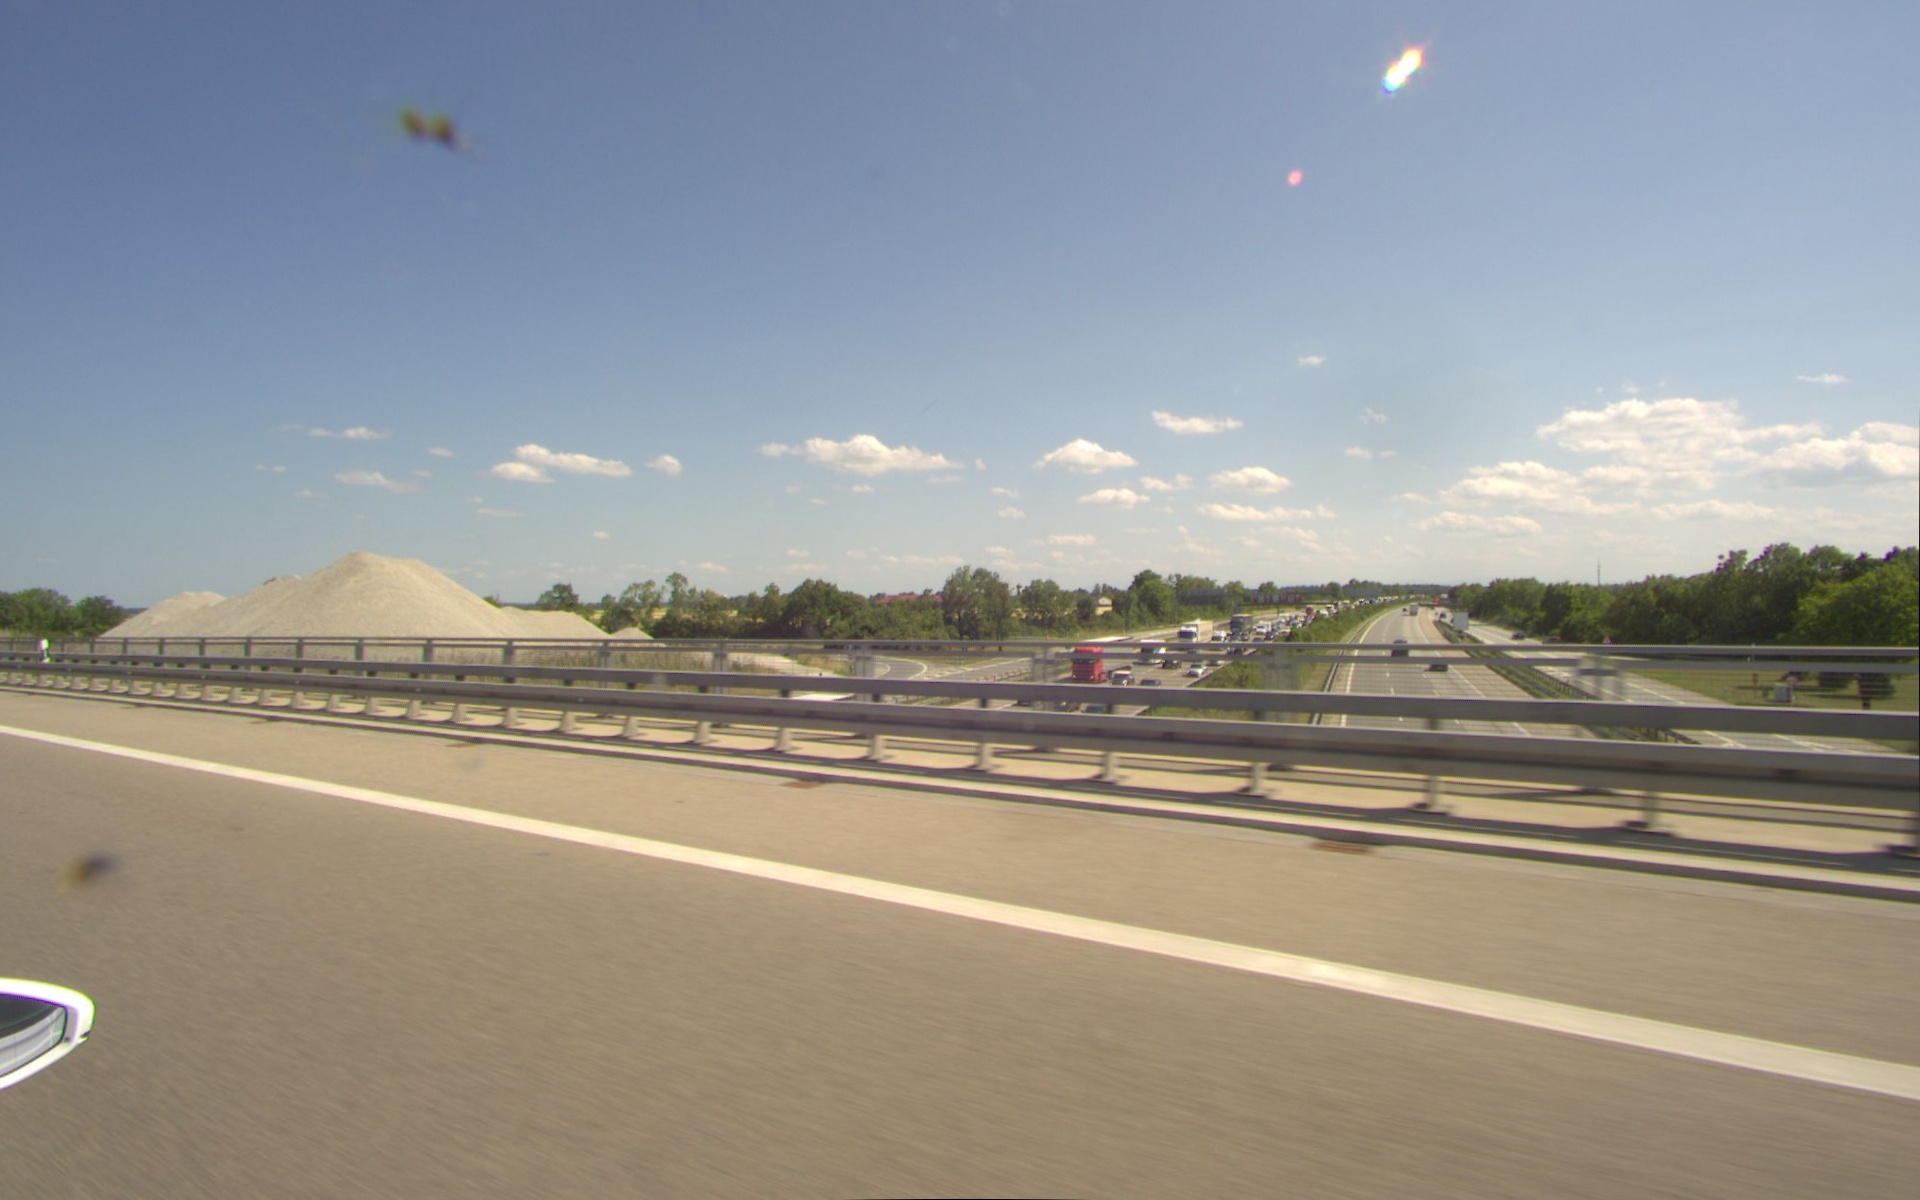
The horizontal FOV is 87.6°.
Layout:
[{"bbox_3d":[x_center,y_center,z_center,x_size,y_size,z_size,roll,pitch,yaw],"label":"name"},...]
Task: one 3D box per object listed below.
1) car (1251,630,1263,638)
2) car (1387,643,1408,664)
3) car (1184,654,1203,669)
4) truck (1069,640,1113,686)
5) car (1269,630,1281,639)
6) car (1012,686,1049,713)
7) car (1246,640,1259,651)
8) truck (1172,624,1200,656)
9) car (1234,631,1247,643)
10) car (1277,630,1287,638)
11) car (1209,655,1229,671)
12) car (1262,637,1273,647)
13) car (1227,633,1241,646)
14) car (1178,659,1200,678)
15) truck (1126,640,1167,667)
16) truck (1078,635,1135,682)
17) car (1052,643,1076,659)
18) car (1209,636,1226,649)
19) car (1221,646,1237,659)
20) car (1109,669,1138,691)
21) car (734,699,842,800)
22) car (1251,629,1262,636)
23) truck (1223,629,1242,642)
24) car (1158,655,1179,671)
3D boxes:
[{"bbox_3d":[62.277,7.198,210.028,1.965,1.631,4.686,-1,-1,21],"label":"car"},{"bbox_3d":[54.609,6.630,124.996,2.102,2.479,5.039,0,-1,20],"label":"car"},{"bbox_3d":[30.716,8.047,131.662,1.829,1.757,4.336,-1,-1,21],"label":"car"},{"bbox_3d":[13.097,6.179,99.802,2.822,4.119,5.939,0,1,23],"label":"truck"},{"bbox_3d":[63.212,6.941,200.986,1.965,1.631,4.686,-1,-1,21],"label":"car"},{"bbox_3d":[5.780,8.093,81.724,1.829,1.757,4.336,-1,-1,21],"label":"car"},{"bbox_3d":[49.083,7.675,168.070,1.829,1.757,4.336,-1,-1,21],"label":"car"},{"bbox_3d":[35.203,6.145,155.623,3.097,4.836,8.225,0,-1,21],"label":"truck"},{"bbox_3d":[52.093,6.811,185.710,1.965,2.040,4.686,-1,-1,21],"label":"car"},{"bbox_3d":[69.119,7.383,214.875,1.965,1.631,4.686,-1,-1,21],"label":"car"},{"bbox_3d":[32.243,7.800,124.604,1.829,1.757,4.336,-1,-1,21],"label":"car"},{"bbox_3d":[57.647,7.798,187.749,1.829,1.757,4.336,-1,-1,21],"label":"car"},{"bbox_3d":[46.707,6.673,170.725,1.965,2.040,4.686,-1,-1,21],"label":"car"},{"bbox_3d":[24.995,7.454,109.269,1.829,1.757,4.336,-1,-1,21],"label":"car"},{"bbox_3d":[23.965,6.806,127.983,3.098,3.099,10.022,-1,-1,23],"label":"truck"},{"bbox_3d":[15.590,6.061,105.660,2.822,4.119,12.539,0,1,23],"label":"truck"},{"bbox_3d":[12.425,6.075,119.866,1.829,1.757,4.336,-1,-1,21],"label":"car"},{"bbox_3d":[40.099,6.589,155.812,1.965,2.040,4.686,-1,-1,21],"label":"car"},{"bbox_3d":[38.691,7.510,144.163,1.829,1.757,4.336,-1,-1,21],"label":"car"},{"bbox_3d":[15.440,7.523,94.424,1.829,1.757,4.336,-1,-1,21],"label":"car"},{"bbox_3d":[-7.825,6.726,46.030,2.442,4.014,5.147,-1,-2,24],"label":"car"},{"bbox_3d":[67.815,7.476,229.004,1.965,1.631,4.686,-1,-1,21],"label":"car"},{"bbox_3d":[55.392,7.207,203.172,3.097,2.563,6.647,-1,-1,21],"label":"truck"},{"bbox_3d":[24.916,7.480,119.427,1.829,1.757,4.336,-1,-1,21],"label":"car"}]
